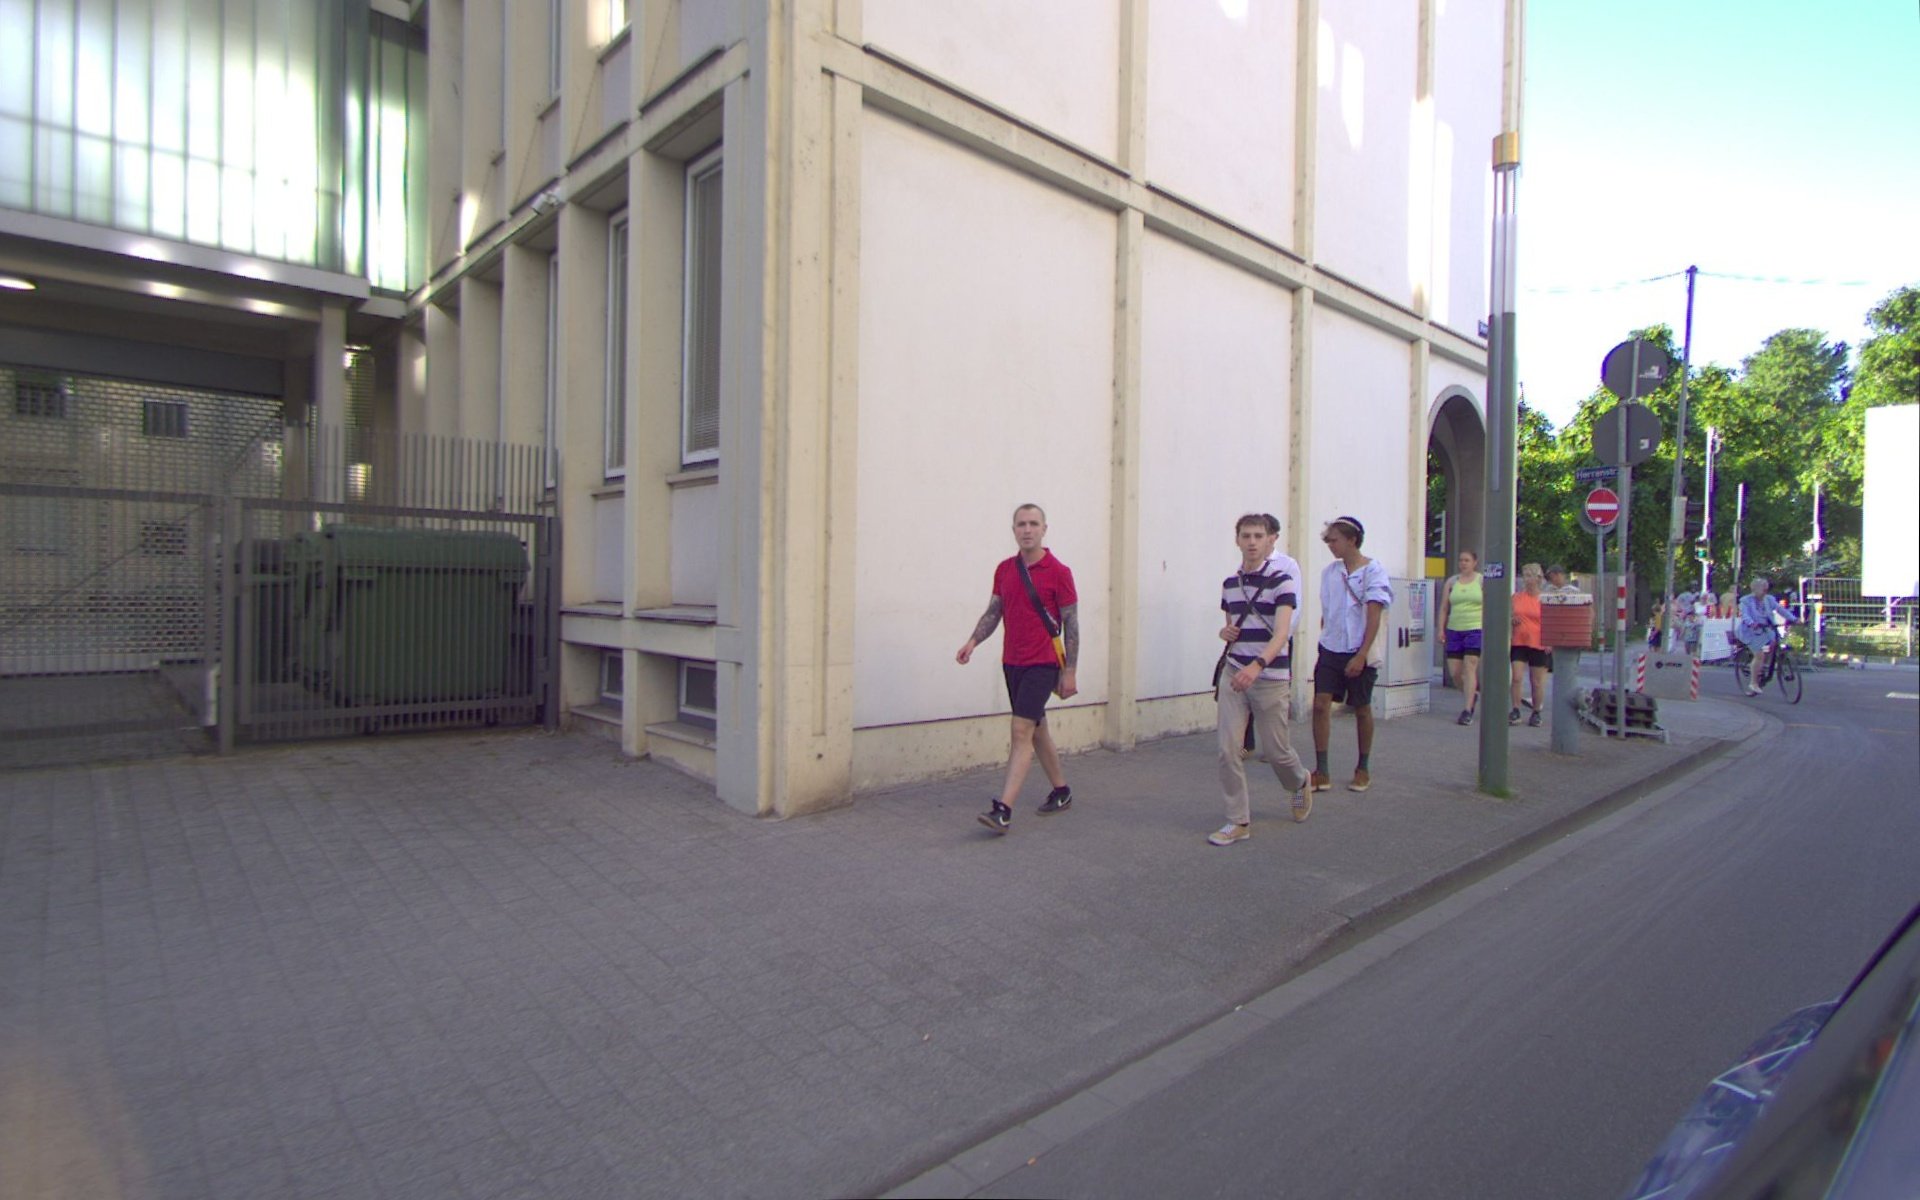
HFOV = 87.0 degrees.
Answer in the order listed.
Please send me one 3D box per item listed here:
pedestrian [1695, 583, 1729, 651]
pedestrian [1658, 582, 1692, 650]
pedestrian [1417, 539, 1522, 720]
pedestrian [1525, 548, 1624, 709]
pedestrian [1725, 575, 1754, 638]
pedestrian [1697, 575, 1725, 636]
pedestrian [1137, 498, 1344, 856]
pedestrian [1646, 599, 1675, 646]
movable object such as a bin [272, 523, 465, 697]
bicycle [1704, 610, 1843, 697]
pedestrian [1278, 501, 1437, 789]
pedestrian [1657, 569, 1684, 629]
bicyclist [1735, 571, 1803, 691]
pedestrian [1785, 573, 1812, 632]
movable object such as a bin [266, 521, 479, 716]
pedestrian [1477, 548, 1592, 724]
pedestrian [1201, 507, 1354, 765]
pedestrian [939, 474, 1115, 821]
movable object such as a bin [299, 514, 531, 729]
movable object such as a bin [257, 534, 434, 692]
[{"bbox_3d":[18.423,0.410,24.794,0.624,1.634,0.614,0,0,42],"label":"pedestrian"},{"bbox_3d":[17.790,0.385,25.163,0.624,1.662,0.614,0,0,42],"label":"pedestrian"},{"bbox_3d":[5.121,0.270,10.172,0.681,1.737,0.684,1,2,-41],"label":"pedestrian"},{"bbox_3d":[6.951,0.304,11.457,0.681,1.736,0.684,3,2,-41],"label":"pedestrian"},{"bbox_3d":[22.564,0.175,29.304,0.624,1.805,0.614,0,0,42],"label":"pedestrian"},{"bbox_3d":[22.413,0.161,30.198,0.624,1.805,0.614,0,0,42],"label":"pedestrian"},{"bbox_3d":[1.538,0.374,5.590,0.681,1.799,0.685,1,6,-41],"label":"pedestrian"},{"bbox_3d":[17.924,0.568,25.900,0.533,1.191,0.614,0,1,42],"label":"pedestrian"},{"bbox_3d":[-5.410,0.073,9.277,1.359,1.454,0.968,-1,1,-42],"label":"movable object such as a bin"},{"bbox_3d":[11.784,0.732,14.759,0.586,1.097,2.302,0,1,12],"label":"bicycle"},{"bbox_3d":[2.669,0.267,6.802,0.681,1.800,0.684,1,2,-41],"label":"pedestrian"},{"bbox_3d":[21.663,-0.026,30.859,0.624,1.805,0.614,0,0,42],"label":"pedestrian"},{"bbox_3d":[11.781,0.432,14.750,0.577,1.710,0.536,0,0,12],"label":"bicyclist"},{"bbox_3d":[26.161,0.080,31.564,0.624,1.805,0.614,0,0,42],"label":"pedestrian"},{"bbox_3d":[-4.853,0.123,8.375,1.359,1.454,0.968,-1,1,-42],"label":"movable object such as a bin"},{"bbox_3d":[5.776,0.339,10.182,0.681,1.655,0.685,1,5,-41],"label":"pedestrian"},{"bbox_3d":[2.387,0.240,7.623,0.681,1.799,0.685,1,6,-41],"label":"pedestrian"},{"bbox_3d":[0.366,0.225,5.678,0.583,1.800,0.685,1,4,-41],"label":"pedestrian"},{"bbox_3d":[-4.118,0.130,7.670,1.359,1.454,0.968,-1,1,-42],"label":"movable object such as a bin"},{"bbox_3d":[-6.136,0.103,10.118,1.359,1.454,0.968,-1,1,-42],"label":"movable object such as a bin"}]
